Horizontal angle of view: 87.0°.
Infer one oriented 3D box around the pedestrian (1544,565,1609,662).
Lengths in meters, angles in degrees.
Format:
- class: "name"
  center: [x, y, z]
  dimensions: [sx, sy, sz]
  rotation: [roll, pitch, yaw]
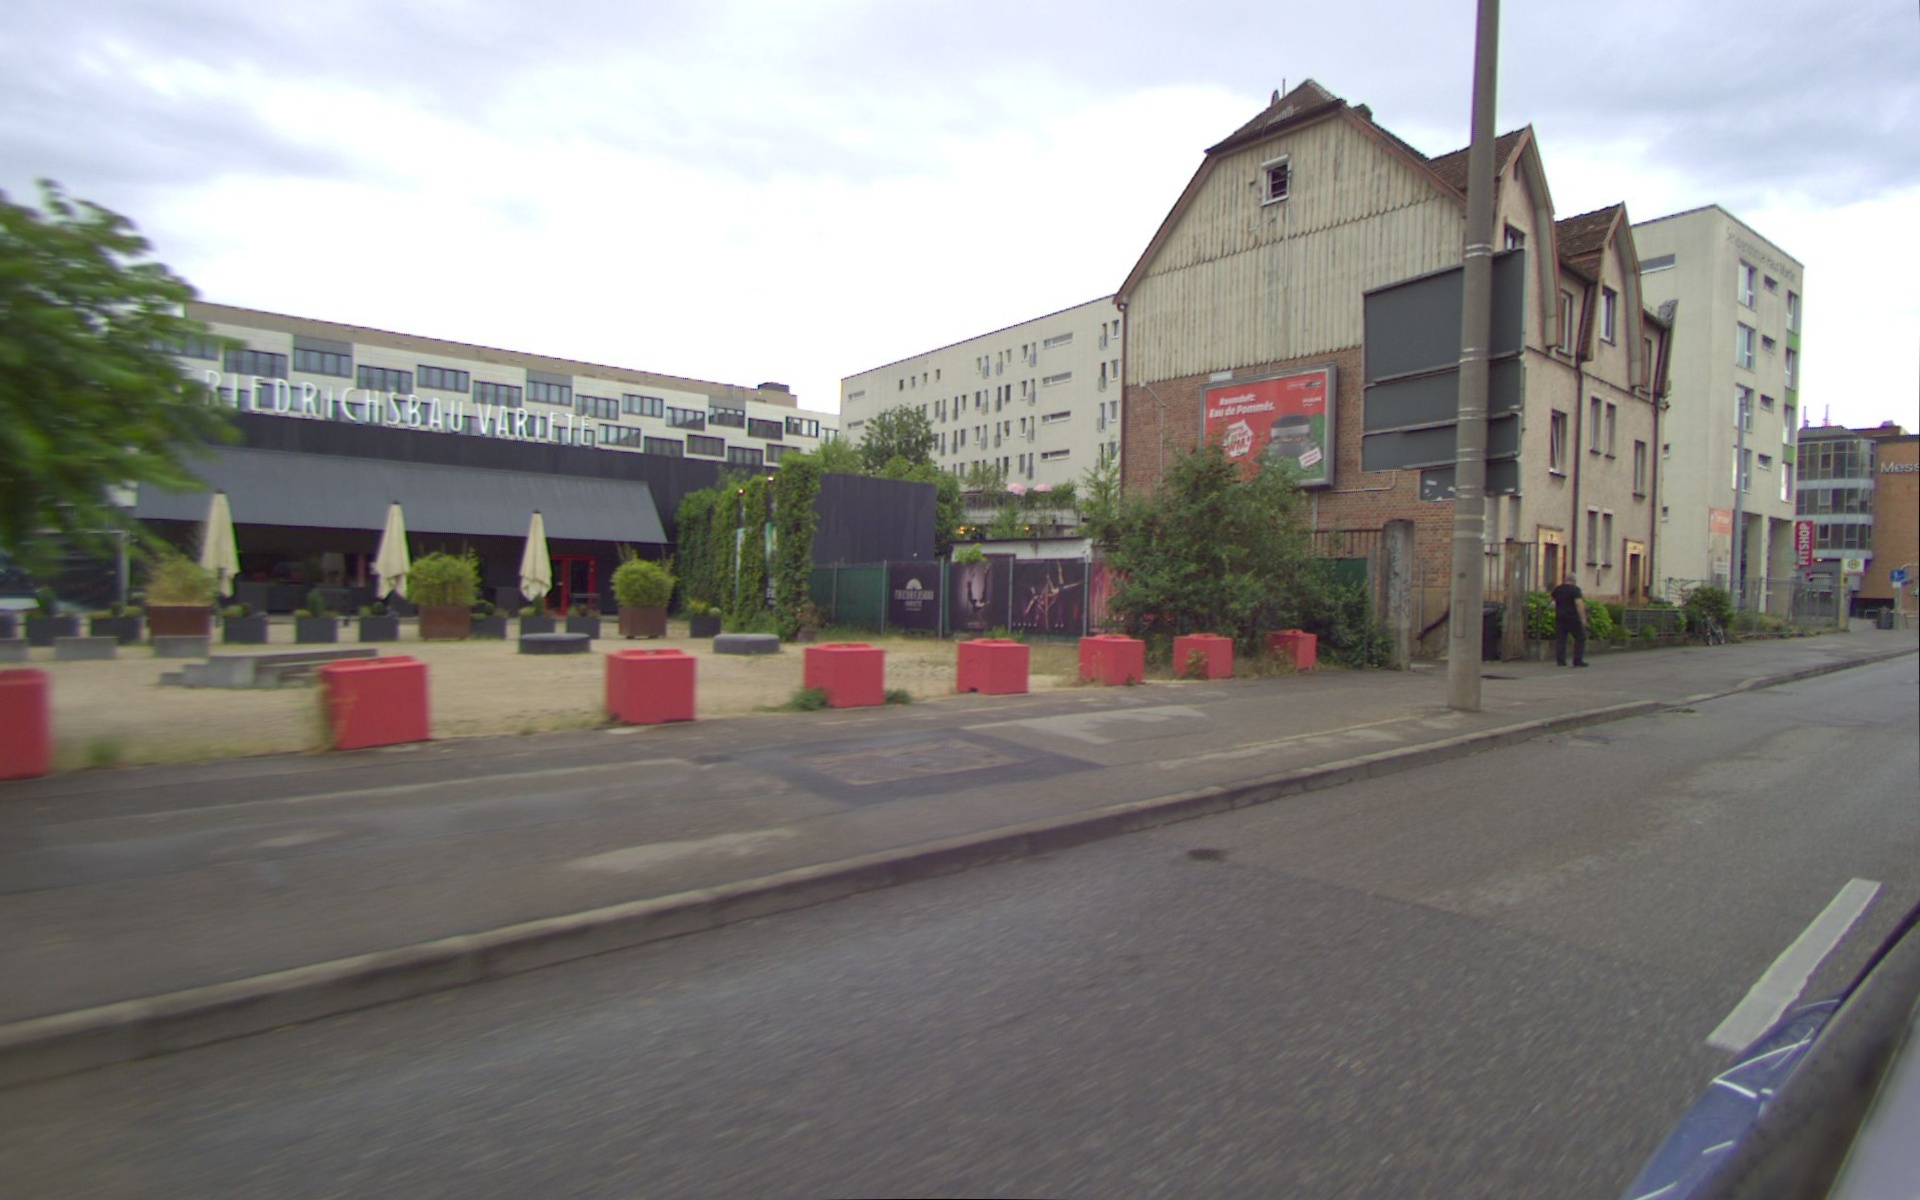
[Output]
- class: "pedestrian"
  center: [11.718, 0.241, 19.240]
  dimensions: [0.910, 1.786, 0.756]
  rotation: [-1, 1, 42]
